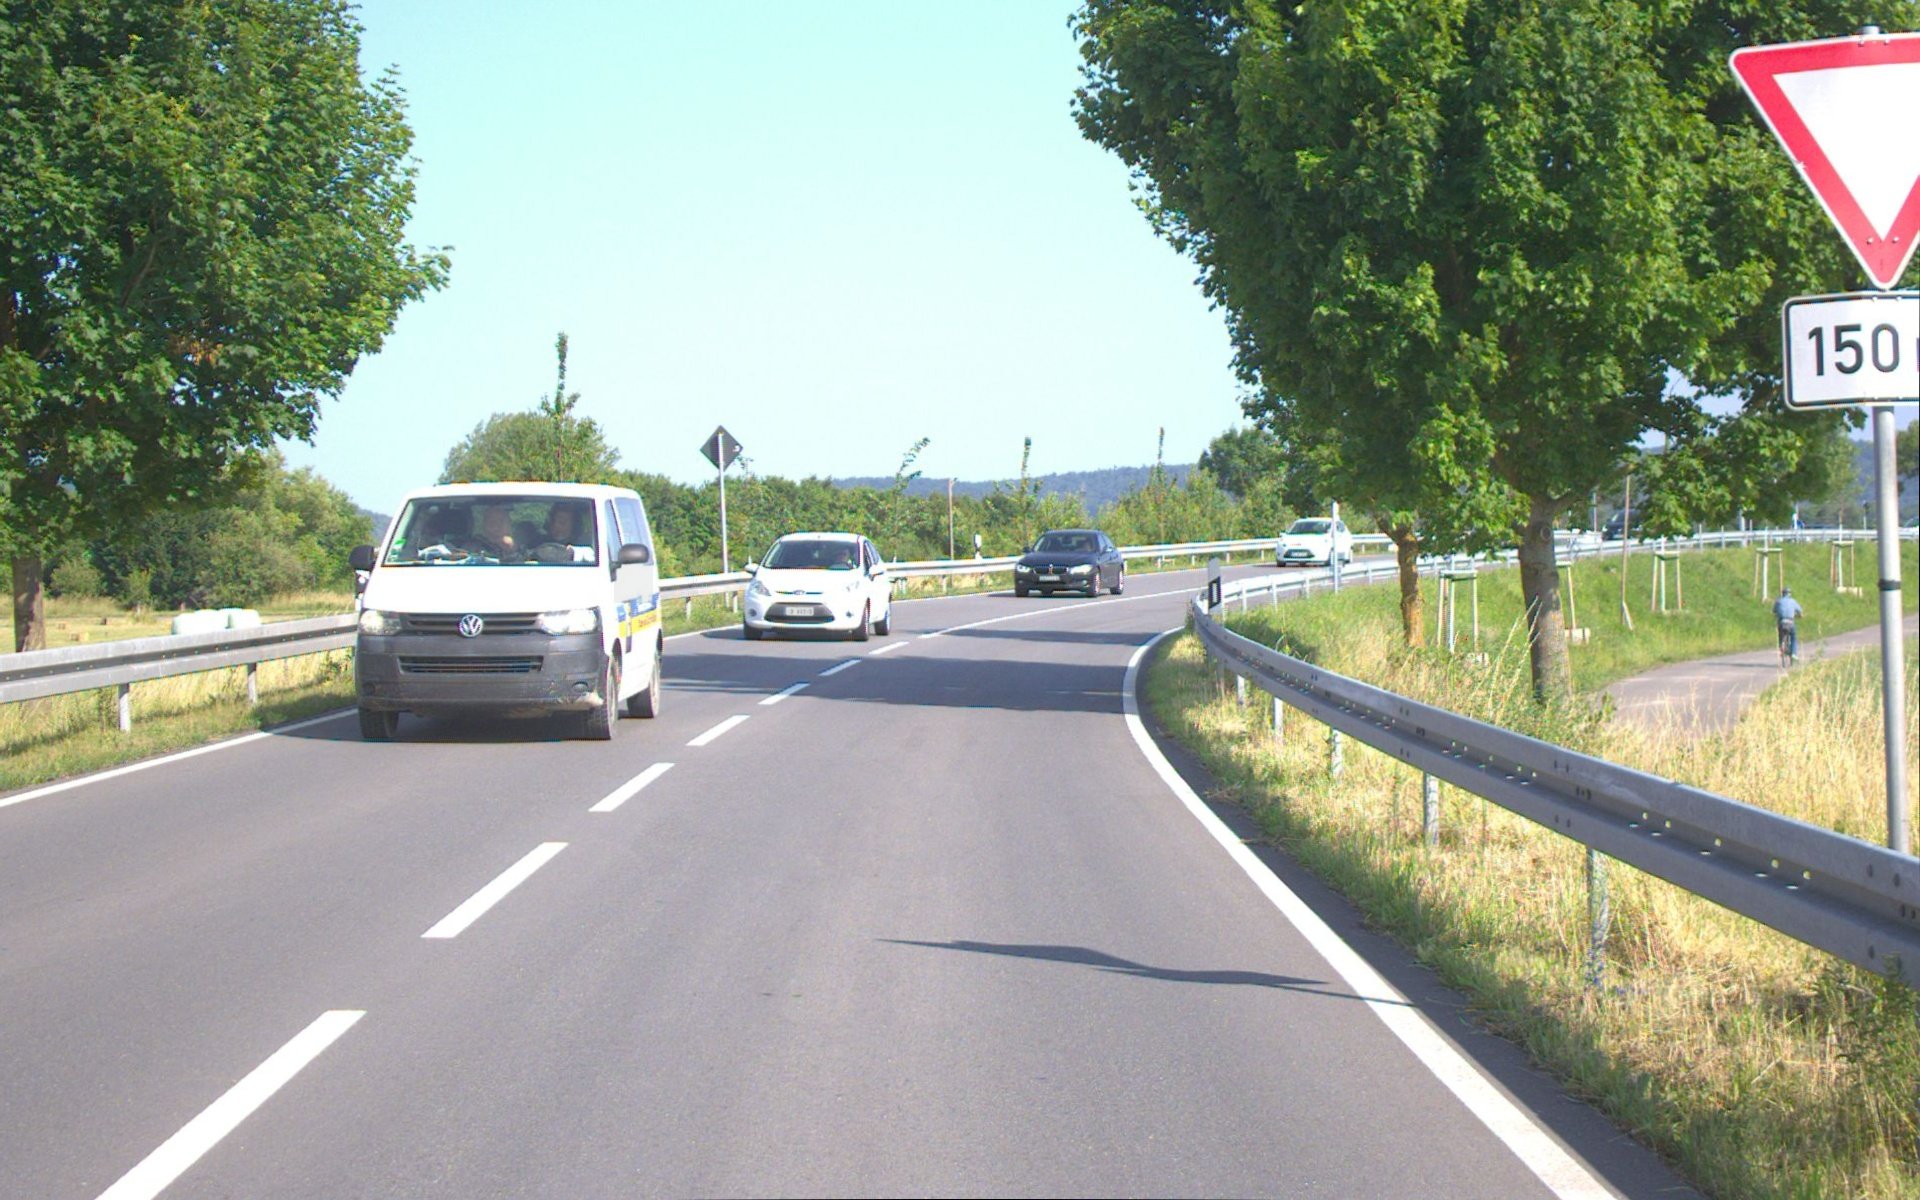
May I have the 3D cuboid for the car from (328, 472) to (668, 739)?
[{"bbox_3d":[-3.472,-0.005,26.667,1.993,1.878,4.592,0,1,0],"label":"car"}]

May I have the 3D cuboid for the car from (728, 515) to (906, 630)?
[{"bbox_3d":[-1.957,-0.411,48.331,1.902,1.527,4.591,1,1,5],"label":"car"}]

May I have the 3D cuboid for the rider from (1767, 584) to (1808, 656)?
[{"bbox_3d":[17.799,0.418,73.932,0.610,1.522,1.824,0,0,21],"label":"rider"}]

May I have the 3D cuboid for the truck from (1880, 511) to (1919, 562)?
[{"bbox_3d":[49.940,-3.224,176.019,5.049,2.520,2.000,0,0,-5],"label":"truck"}]

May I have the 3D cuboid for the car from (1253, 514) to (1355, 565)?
[{"bbox_3d":[10.514,-1.845,104.731,1.995,1.527,4.587,1,1,20],"label":"car"}]

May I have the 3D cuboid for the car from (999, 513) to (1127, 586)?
[{"bbox_3d":[2.280,-1.103,74.568,1.994,1.527,4.589,1,1,12],"label":"car"}]
